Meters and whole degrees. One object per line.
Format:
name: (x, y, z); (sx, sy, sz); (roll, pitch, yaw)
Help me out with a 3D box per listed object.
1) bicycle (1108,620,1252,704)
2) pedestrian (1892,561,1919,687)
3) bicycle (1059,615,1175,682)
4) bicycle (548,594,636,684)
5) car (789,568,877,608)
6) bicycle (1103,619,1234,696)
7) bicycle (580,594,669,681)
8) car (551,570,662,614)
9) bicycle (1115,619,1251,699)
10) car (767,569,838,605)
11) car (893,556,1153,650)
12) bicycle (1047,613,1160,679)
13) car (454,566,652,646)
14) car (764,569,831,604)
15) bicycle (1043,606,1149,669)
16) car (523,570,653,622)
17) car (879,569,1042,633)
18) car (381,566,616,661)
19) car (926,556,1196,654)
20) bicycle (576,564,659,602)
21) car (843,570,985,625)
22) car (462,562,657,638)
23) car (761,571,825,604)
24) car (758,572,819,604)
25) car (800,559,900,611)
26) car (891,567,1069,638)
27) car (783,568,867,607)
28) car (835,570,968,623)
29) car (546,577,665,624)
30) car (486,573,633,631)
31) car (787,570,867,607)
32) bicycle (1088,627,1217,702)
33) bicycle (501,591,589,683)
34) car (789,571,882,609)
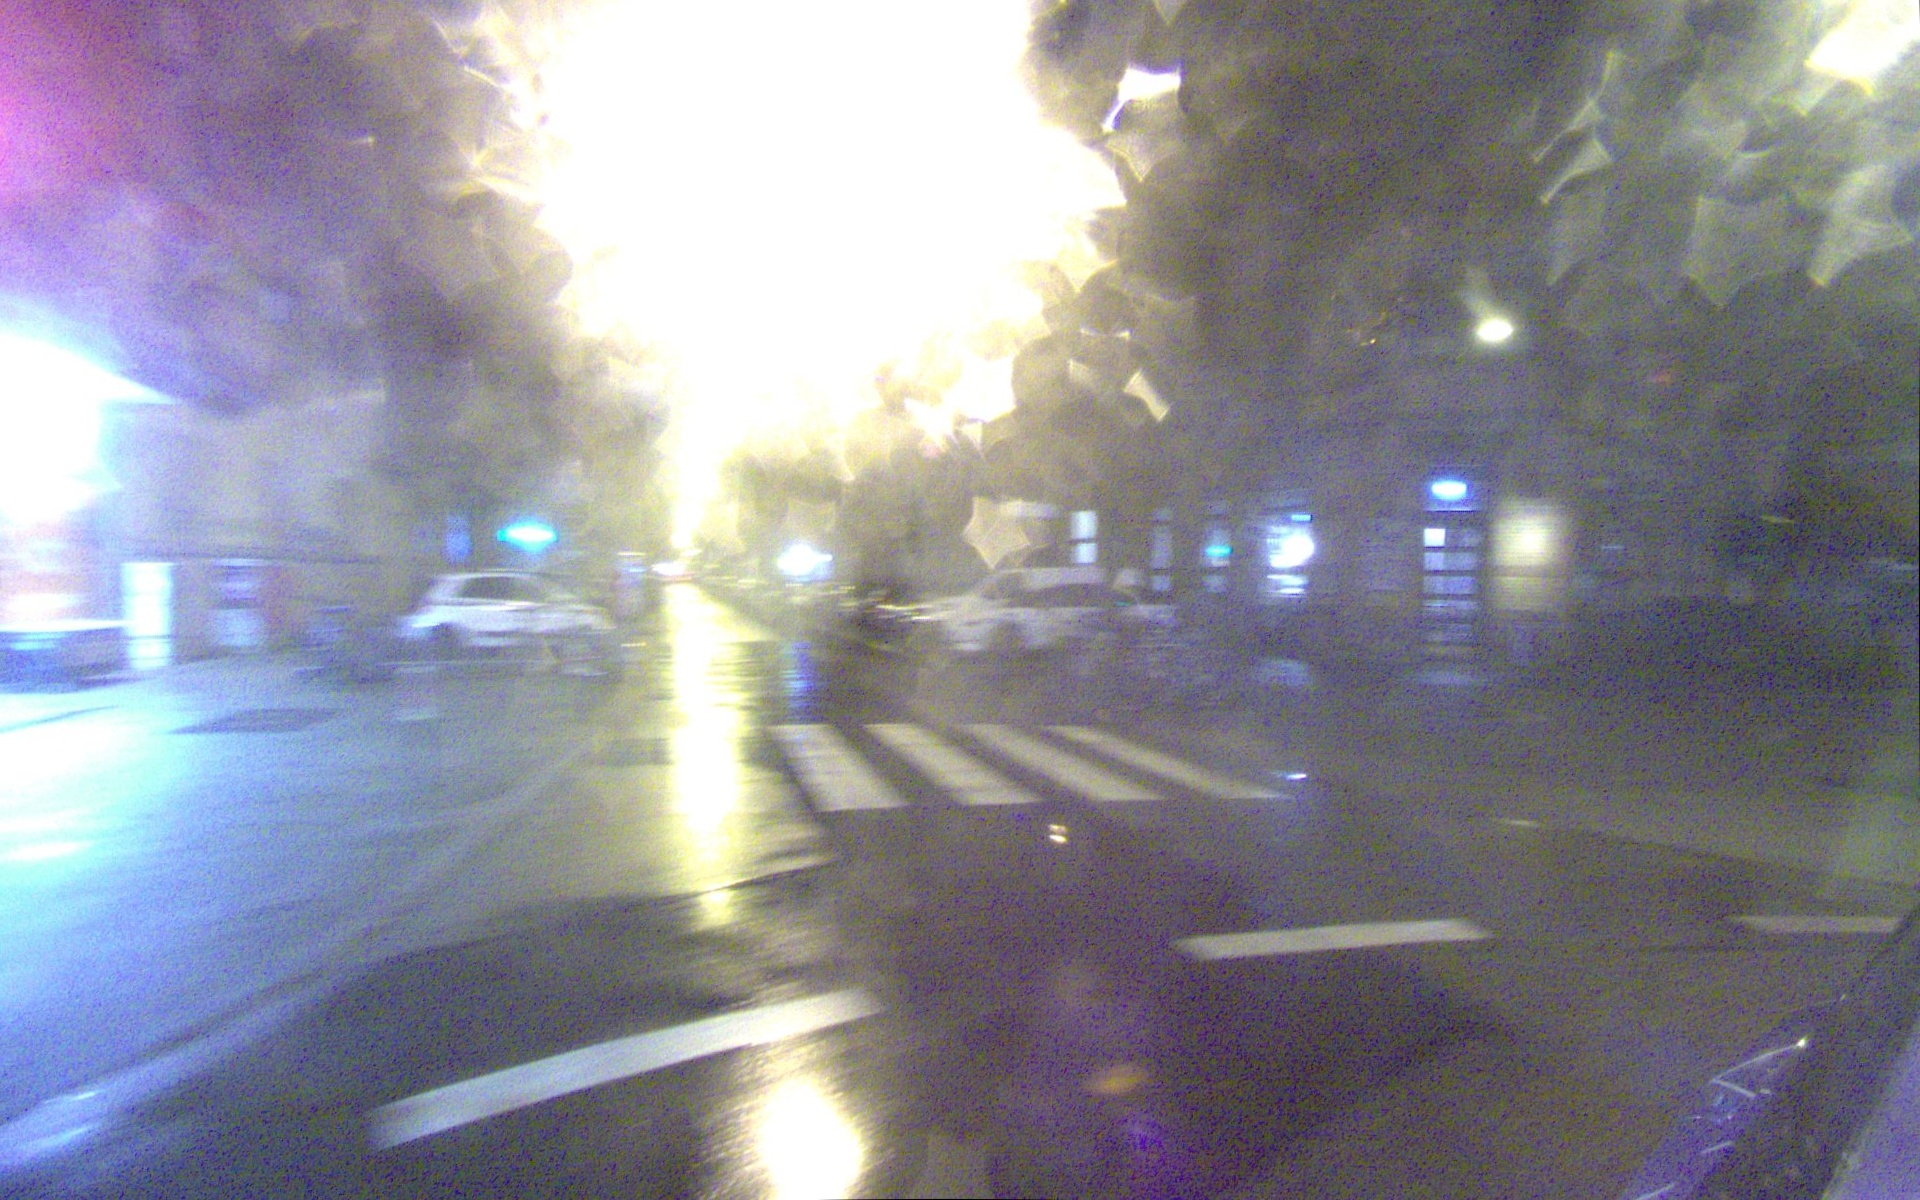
bicycle: (2.821, 0.790, 12.953); (1.772, 1.021, 0.456); (1, 0, -16)
pedestrian: (14.405, 0.344, 14.823); (0.793, 1.839, 0.793); (-1, 2, -16)
bicycle: (2.463, 0.757, 15.892); (1.772, 1.021, 0.404); (1, 0, -16)
bicycle: (-5.257, 0.531, 14.392); (0.444, 1.191, 1.960); (0, -1, -43)
car: (-5.937, -0.551, 47.098); (3.917, 1.796, 2.003); (-1, 0, -12)
bicycle: (2.871, 0.787, 13.934); (1.772, 1.021, 0.380); (1, 0, -16)
bicycle: (-4.916, 0.526, 14.759); (0.444, 1.191, 1.960); (0, -1, -43)
car: (-13.476, -0.291, 38.639); (3.629, 1.598, 1.753); (-1, 0, -42)
bicycle: (2.980, 0.785, 13.500); (1.772, 1.021, 0.404); (1, 0, -16)
car: (-9.280, -0.761, 59.511); (3.916, 2.039, 2.004); (1, 1, -14)
car: (1.392, 0.063, 22.566); (5.431, 1.914, 2.004); (0, 0, -18)
bicycle: (2.334, 0.745, 16.448); (1.772, 1.021, 0.404); (1, 0, -16)
car: (-8.816, 0.102, 22.032); (3.629, 1.598, 1.753); (-1, 0, -42)
car: (-10.087, -0.824, 62.565); (3.916, 2.039, 2.004); (1, 1, -14)
bicycle: (2.298, 0.629, 17.056); (1.740, 1.021, 0.404); (1, 0, -16)
car: (-12.135, -0.138, 33.120); (3.629, 1.598, 1.753); (-1, 0, -42)
car: (-0.015, 0.024, 29.636); (4.369, 1.785, 2.004); (0, 0, -18)
car: (-8.523, 0.213, 18.810); (3.629, 1.598, 1.753); (-1, 0, -42)
car: (1.998, 0.097, 20.253); (4.989, 1.785, 2.004); (0, 0, -18)
bicycle: (-19.102, -0.961, 56.505); (3.930, 2.039, 1.997); (0, 1, -41)
car: (-1.563, -0.080, 33.909); (4.369, 1.785, 2.004); (0, 0, -18)
car: (-9.609, -0.011, 24.462); (4.036, 1.684, 1.753); (-1, 0, -42)
car: (-10.816, -0.809, 65.315); (3.916, 2.039, 2.004); (1, 1, -14)
car: (-11.536, -0.794, 68.007); (3.916, 2.039, 2.004); (1, 1, -14)
car: (-4.620, -0.605, 42.211); (3.917, 2.039, 2.003); (-1, -1, -12)
car: (0.507, 0.067, 27.091); (4.369, 1.785, 2.004); (0, 0, -18)
car: (-6.634, -0.590, 49.424); (3.917, 1.794, 2.003); (-1, 0, -12)
car: (-2.102, -0.119, 36.124); (4.369, 1.785, 2.004); (0, 0, -18)
car: (-12.539, -0.002, 35.887); (3.629, 1.598, 1.753); (-1, 0, -42)
car: (-11.735, 0.036, 29.743); (3.629, 1.598, 1.753); (-1, 0, -42)
car: (-6.863, -0.588, 52.023); (3.917, 1.794, 2.003); (-1, 0, -12)
bicycle: (2.733, 0.907, 14.359); (1.772, 1.021, 0.404); (1, 0, -16)
bicycle: (-5.729, 0.486, 13.906); (0.444, 1.191, 1.960); (0, -1, -43)
car: (-5.545, -0.442, 44.867); (3.917, 1.572, 2.003); (-1, 0, -12)
